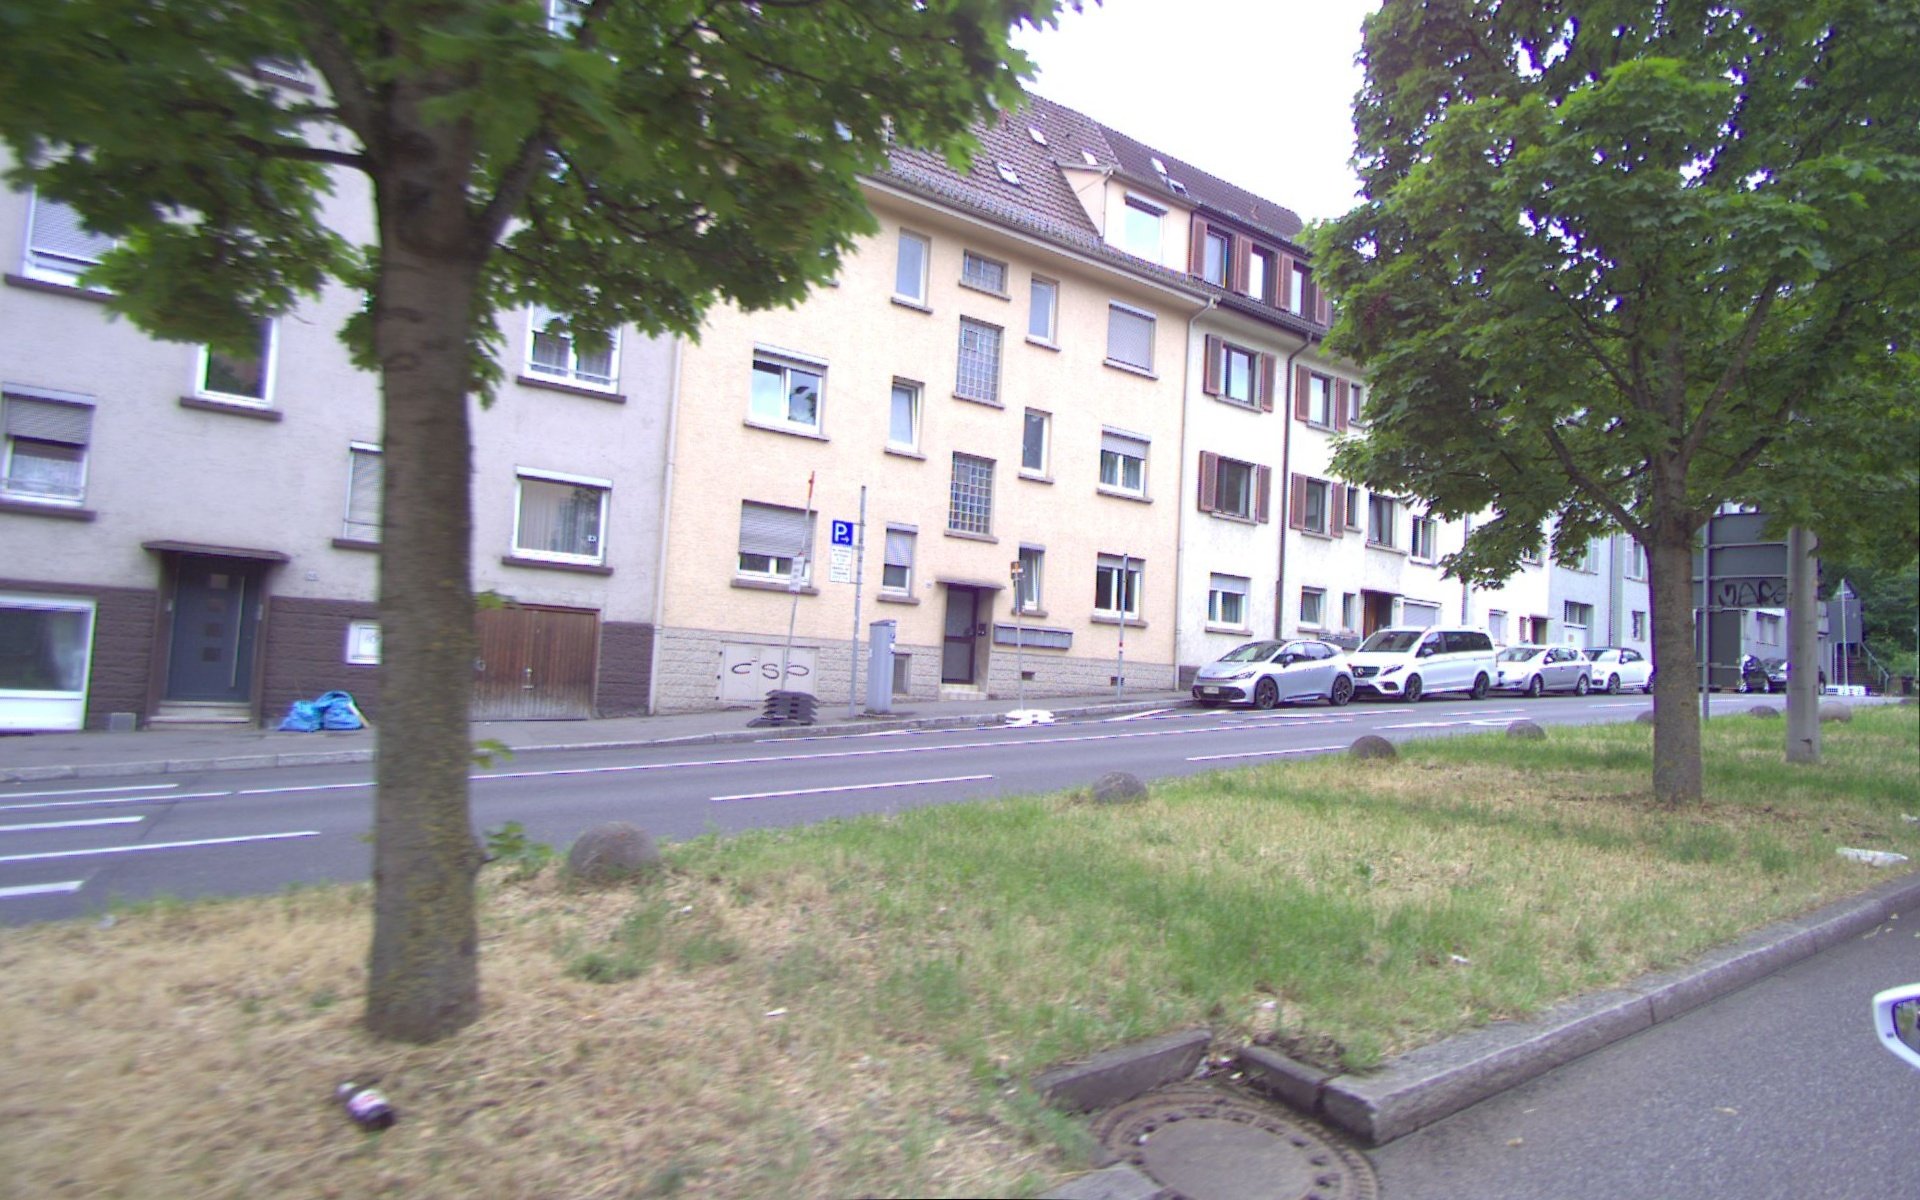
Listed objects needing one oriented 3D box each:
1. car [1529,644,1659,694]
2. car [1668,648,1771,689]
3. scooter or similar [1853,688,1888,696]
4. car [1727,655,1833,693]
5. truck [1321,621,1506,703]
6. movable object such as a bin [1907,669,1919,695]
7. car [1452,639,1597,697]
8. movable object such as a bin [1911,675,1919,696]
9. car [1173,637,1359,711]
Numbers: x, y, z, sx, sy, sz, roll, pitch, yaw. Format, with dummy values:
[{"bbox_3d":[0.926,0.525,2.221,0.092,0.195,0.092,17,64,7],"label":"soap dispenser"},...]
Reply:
[{"bbox_3d":[20.264,2.183,32.073,4.113,1.493,1.983,2,-3,-33],"label":"car"},{"bbox_3d":[28.490,2.546,37.649,4.173,1.441,1.980,3,-3,-37],"label":"car"},{"bbox_3d":[39.662,4.005,43.755,1.111,0.292,1.094,-2,-6,42],"label":"scooter or similar"},{"bbox_3d":[32.802,2.961,40.161,4.469,1.418,1.983,3,-3,-33],"label":"car"},{"bbox_3d":[11.966,1.615,26.365,5.292,1.945,1.982,3,-3,-34],"label":"truck"},{"bbox_3d":[47.086,4.040,49.438,0.598,1.201,0.489,4,-1,42],"label":"movable object such as a bin"},{"bbox_3d":[16.516,1.950,29.353,4.337,1.573,1.982,3,-3,-34],"label":"car"},{"bbox_3d":[46.826,4.188,49.036,0.510,0.980,0.442,4,-1,42],"label":"movable object such as a bin"},{"bbox_3d":[7.093,1.669,23.181,4.115,1.573,1.982,3,-3,-34],"label":"car"}]
